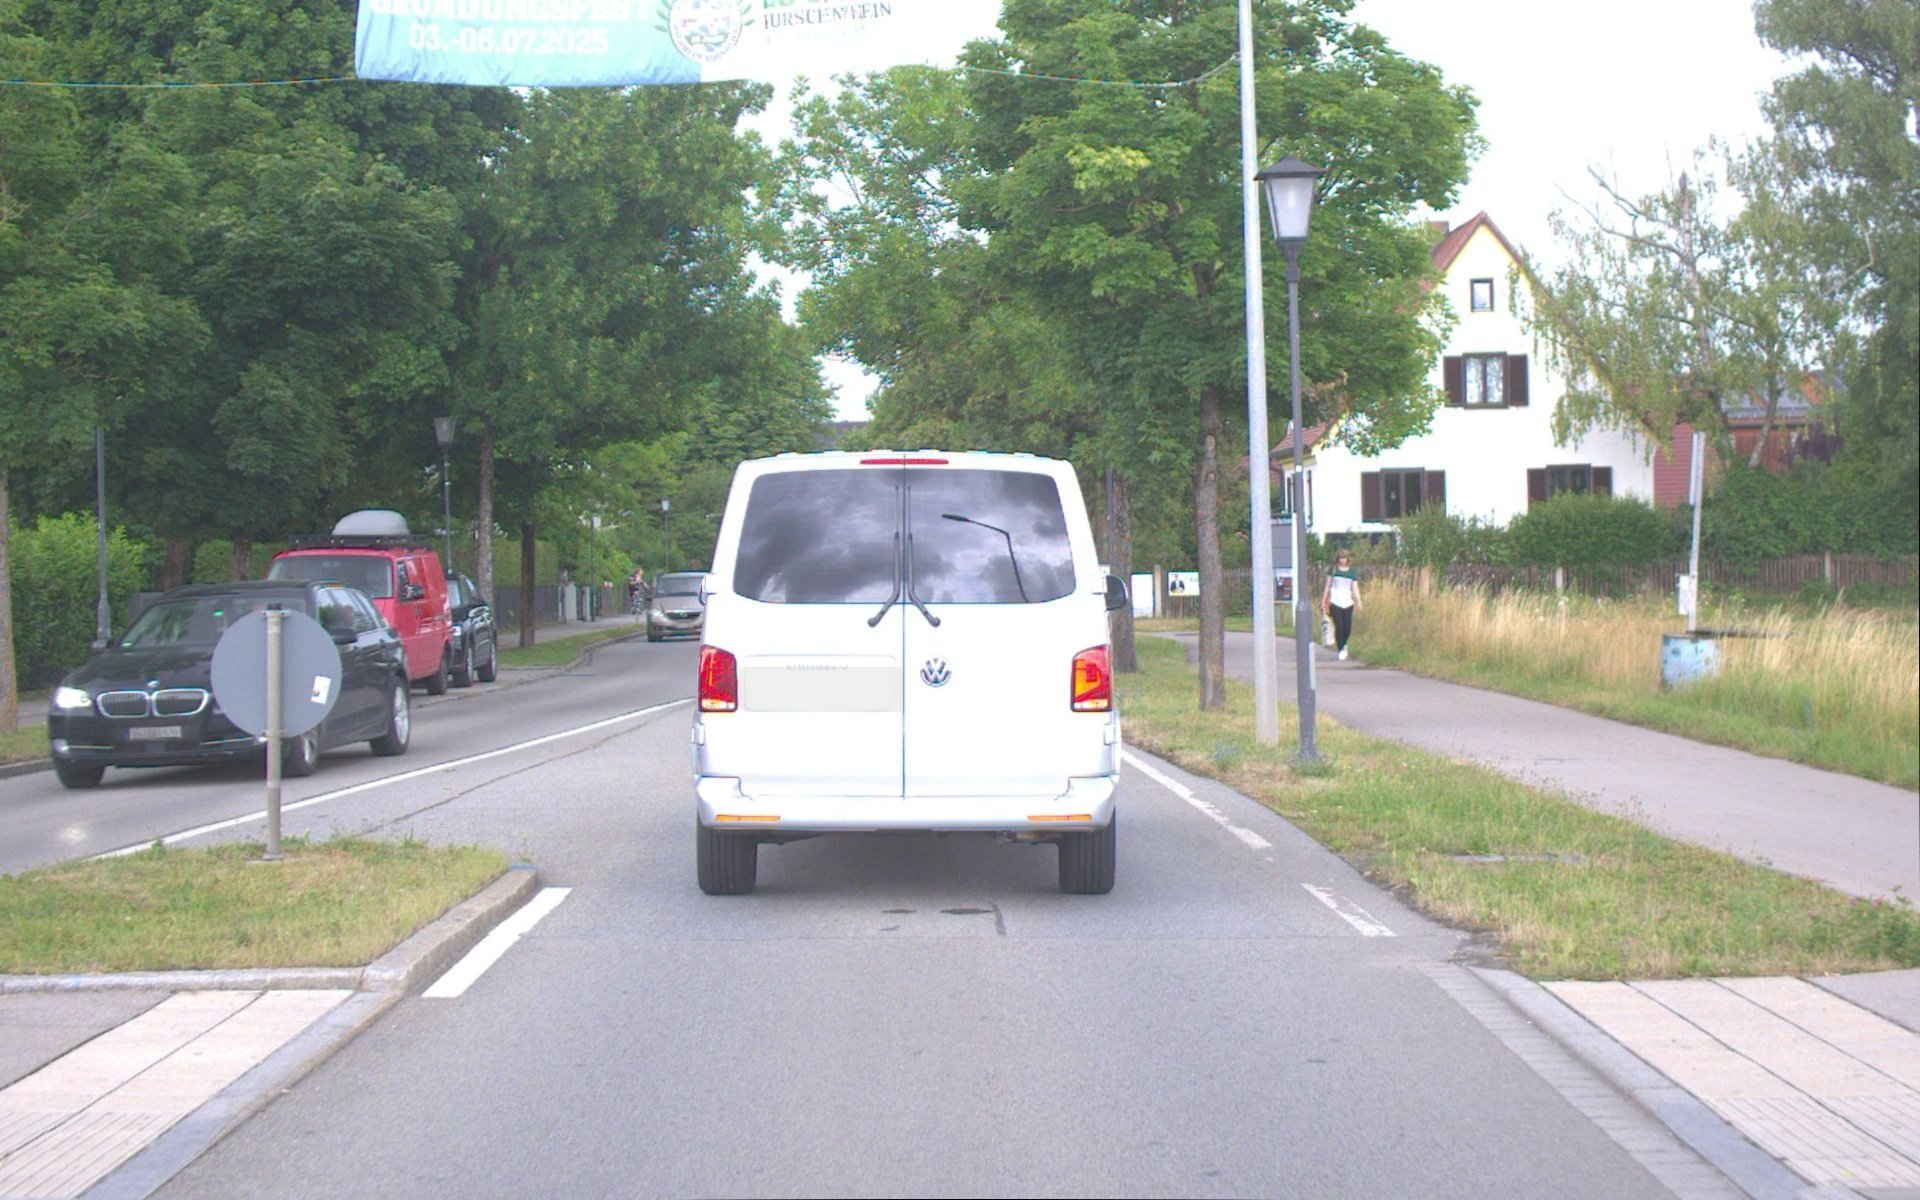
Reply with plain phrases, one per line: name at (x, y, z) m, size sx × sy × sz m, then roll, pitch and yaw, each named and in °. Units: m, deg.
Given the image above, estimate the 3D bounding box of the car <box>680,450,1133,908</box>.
car at (-0.268, 0.316, 16.341) m, size 1.888 × 1.905 × 4.000 m, roll 0°, pitch 0°, yaw -1°

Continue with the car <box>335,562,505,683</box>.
car at (-7.544, 0.279, 48.374) m, size 1.771 × 1.592 × 4.238 m, roll 0°, pitch 1°, yaw -1°

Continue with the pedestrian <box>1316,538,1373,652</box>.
pedestrian at (5.966, -0.077, 53.363) m, size 0.837 × 1.749 × 0.869 m, roll 0°, pitch 0°, yaw 4°

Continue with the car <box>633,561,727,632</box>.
car at (-6.523, -0.109, 80.472) m, size 1.707 × 1.527 × 3.507 m, roll -3°, pitch 1°, yaw 2°

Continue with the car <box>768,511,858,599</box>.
car at (-3.449, -1.042, 81.289) m, size 1.993 × 2.007 × 4.000 m, roll 1°, pitch 0°, yaw -1°

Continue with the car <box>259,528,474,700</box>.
car at (-7.413, 0.126, 43.408) m, size 1.830 × 2.023 × 5.046 m, roll 1°, pitch 1°, yaw 0°

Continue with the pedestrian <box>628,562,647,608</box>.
pedestrian at (-10.801, -0.494, 115.154) m, size 0.622 × 1.544 × 0.522 m, roll 1°, pitch 0°, yaw -4°

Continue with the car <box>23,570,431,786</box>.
car at (-5.515, 0.533, 26.476) m, size 1.920 × 1.448 × 4.496 m, roll -1°, pitch 1°, yaw 3°
